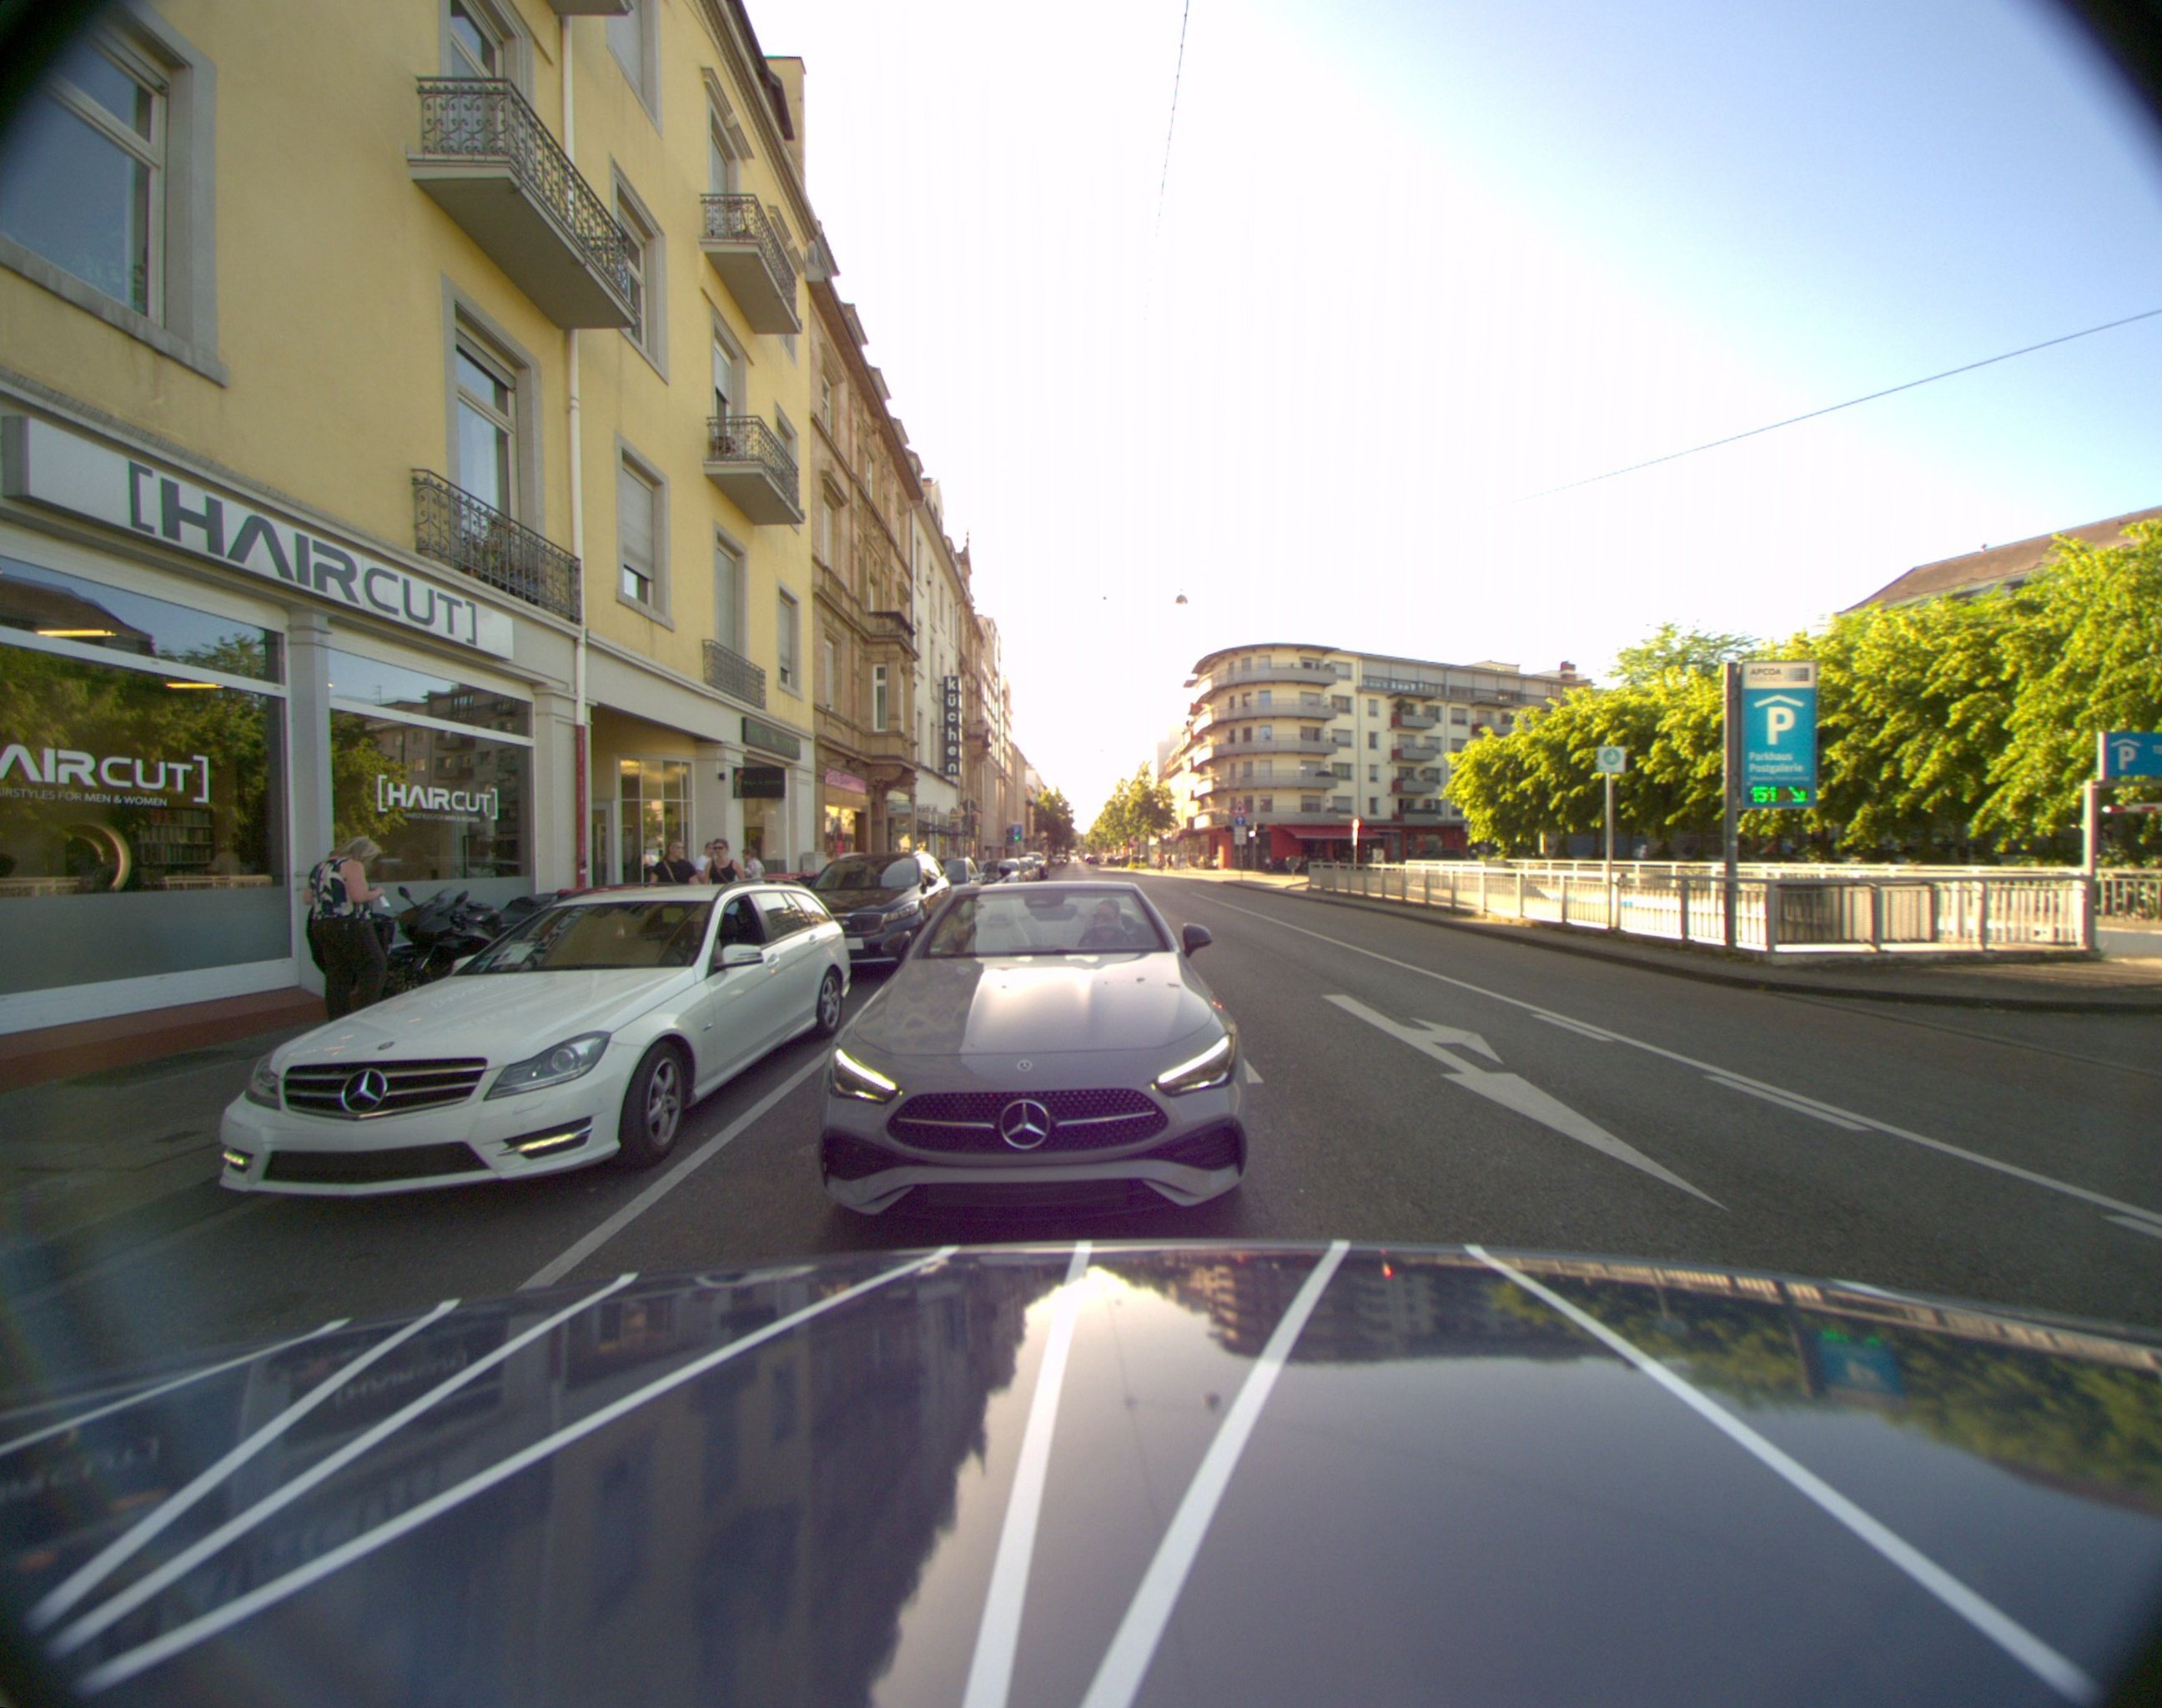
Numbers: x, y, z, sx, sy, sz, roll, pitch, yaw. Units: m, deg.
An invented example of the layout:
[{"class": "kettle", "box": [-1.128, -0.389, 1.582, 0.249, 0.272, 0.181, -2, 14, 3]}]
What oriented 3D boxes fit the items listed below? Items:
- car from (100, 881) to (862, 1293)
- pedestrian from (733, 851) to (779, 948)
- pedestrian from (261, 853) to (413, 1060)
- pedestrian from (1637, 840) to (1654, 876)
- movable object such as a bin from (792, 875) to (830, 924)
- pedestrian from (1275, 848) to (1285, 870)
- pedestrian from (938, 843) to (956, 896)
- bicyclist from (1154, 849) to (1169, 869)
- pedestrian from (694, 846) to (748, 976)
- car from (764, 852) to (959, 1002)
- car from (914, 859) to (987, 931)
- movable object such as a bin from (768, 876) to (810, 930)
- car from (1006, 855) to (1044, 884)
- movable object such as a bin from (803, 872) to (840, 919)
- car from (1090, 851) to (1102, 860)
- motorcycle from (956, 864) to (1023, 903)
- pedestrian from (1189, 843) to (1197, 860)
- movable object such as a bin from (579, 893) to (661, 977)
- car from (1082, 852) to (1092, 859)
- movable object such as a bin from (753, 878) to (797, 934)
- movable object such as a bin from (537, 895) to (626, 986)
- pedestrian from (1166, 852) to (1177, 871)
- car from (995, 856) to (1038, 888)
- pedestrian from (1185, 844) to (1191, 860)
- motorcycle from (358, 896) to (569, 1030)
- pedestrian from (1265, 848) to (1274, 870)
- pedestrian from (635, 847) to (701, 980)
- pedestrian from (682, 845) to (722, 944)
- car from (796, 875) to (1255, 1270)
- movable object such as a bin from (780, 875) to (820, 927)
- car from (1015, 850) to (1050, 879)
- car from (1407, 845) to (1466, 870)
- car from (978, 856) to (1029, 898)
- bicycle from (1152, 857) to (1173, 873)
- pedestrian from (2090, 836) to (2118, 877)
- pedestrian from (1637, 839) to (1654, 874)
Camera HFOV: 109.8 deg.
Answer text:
[{"class": "car", "box": [-3.056, 1.024, 5.299, 1.743, 1.438, 4.463, -1, 0, 0]}, {"class": "pedestrian", "box": [-5.674, 0.771, 13.276, 0.450, 1.651, 0.594, 1, 1, 43]}, {"class": "pedestrian", "box": [-6.065, 0.803, 6.223, 0.698, 1.623, 0.532, 0, 1, -2]}, {"class": "pedestrian", "box": [28.462, 0.179, 38.306, 0.602, 1.782, 0.581, -3, 2, -45]}, {"class": "movable object such as a bin", "box": [-6.059, 1.012, 17.088, 0.606, 1.060, 0.619, 2, 1, 0]}, {"class": "pedestrian", "box": [15.527, 0.358, 59.347, 0.575, 1.698, 0.642, -1, 1, 3]}, {"class": "pedestrian", "box": [-4.526, 0.514, 25.681, 0.434, 1.752, 0.481, -2, 1, 1]}, {"class": "bicyclist", "box": [6.576, 0.426, 61.845, 0.715, 1.605, 0.973, -3, 1, -31]}, {"class": "pedestrian", "box": [-4.644, 0.715, 9.822, 0.515, 1.623, 0.414, -2, 1, -14]}, {"class": "car", "box": [-2.973, 0.863, 11.341, 1.760, 1.726, 4.571, -1, 0, -3]}, {"class": "car", "box": [-3.016, 0.900, 17.954, 1.275, 1.509, 2.794, -1, 0, -2]}, {"class": "movable object such as a bin", "box": [-6.082, 1.014, 15.840, 0.606, 1.060, 0.619, 2, 1, 0]}, {"class": "car", "box": [-2.991, 0.814, 41.093, 1.737, 1.409, 3.802, -1, 0, 0]}, {"class": "movable object such as a bin", "box": [-6.049, 0.962, 17.732, 0.606, 1.060, 0.619, 2, 1, 0]}, {"class": "car", "box": [2.467, 0.267, 126.619, 1.806, 1.388, 3.926, -1, 0, 0]}, {"class": "motorcycle", "box": [-3.189, 1.008, 26.550, 2.178, 1.272, 0.866, -2, 1, -42]}, {"class": "pedestrian", "box": [11.109, -0.239, 75.389, 0.570, 1.612, 0.793, -2, 1, -3]}, {"class": "movable object such as a bin", "box": [-6.073, 1.054, 10.029, 0.669, 1.019, 0.619, 2, 1, 3]}, {"class": "car", "box": [1.178, 0.289, 153.289, 1.895, 1.388, 4.255, -1, 0, -2]}, {"class": "movable object such as a bin", "box": [-6.105, 1.021, 15.193, 0.606, 1.060, 0.619, 2, 1, 0]}, {"class": "movable object such as a bin", "box": [-6.155, 1.050, 9.384, 0.661, 1.035, 0.619, 2, 1, 3]}, {"class": "pedestrian", "box": [7.836, 0.622, 65.583, 0.774, 1.606, 0.696, -1, 1, -3]}, {"class": "car", "box": [-3.068, 0.848, 36.853, 1.737, 1.409, 3.802, -1, 0, 0]}, {"class": "pedestrian", "box": [10.611, -0.206, 75.329, 0.376, 1.521, 0.516, -2, 1, -3]}, {"class": "motorcycle", "box": [-6.218, 1.036, 7.824, 0.551, 1.085, 2.009, 0, 0, -1]}, {"class": "pedestrian", "box": [14.780, 0.360, 59.639, 0.575, 1.698, 0.642, -1, 1, 3]}, {"class": "pedestrian", "box": [-5.250, 0.737, 9.690, 0.619, 1.623, 0.462, -2, 1, -18]}, {"class": "pedestrian", "box": [-6.480, 0.682, 13.011, 0.337, 1.651, 0.524, 0, 1, 16]}, {"class": "car", "box": [-0.216, 0.958, 5.305, 1.848, 1.440, 4.373, -1, 0, 0]}, {"class": "movable object such as a bin", "box": [-6.070, 1.007, 16.455, 0.606, 1.060, 0.619, 2, 1, 0]}, {"class": "car", "box": [-2.996, 0.639, 47.722, 1.895, 1.680, 4.049, -1, 0, 0]}, {"class": "car", "box": [29.259, 0.252, 62.517, 4.432, 1.901, 1.951, -2, 1, -24]}, {"class": "car", "box": [-3.036, 0.864, 30.614, 1.737, 1.509, 4.164, -1, 0, -2]}, {"class": "bicycle", "box": [6.614, 0.884, 61.835, 0.714, 1.205, 1.869, -2, 1, -27]}, {"class": "pedestrian", "box": [45.411, 0.094, 33.734, 0.602, 1.782, 0.581, -2, 1, -20]}, {"class": "pedestrian", "box": [29.160, 0.148, 39.235, 0.602, 1.782, 0.581, -3, 2, -40]}]
